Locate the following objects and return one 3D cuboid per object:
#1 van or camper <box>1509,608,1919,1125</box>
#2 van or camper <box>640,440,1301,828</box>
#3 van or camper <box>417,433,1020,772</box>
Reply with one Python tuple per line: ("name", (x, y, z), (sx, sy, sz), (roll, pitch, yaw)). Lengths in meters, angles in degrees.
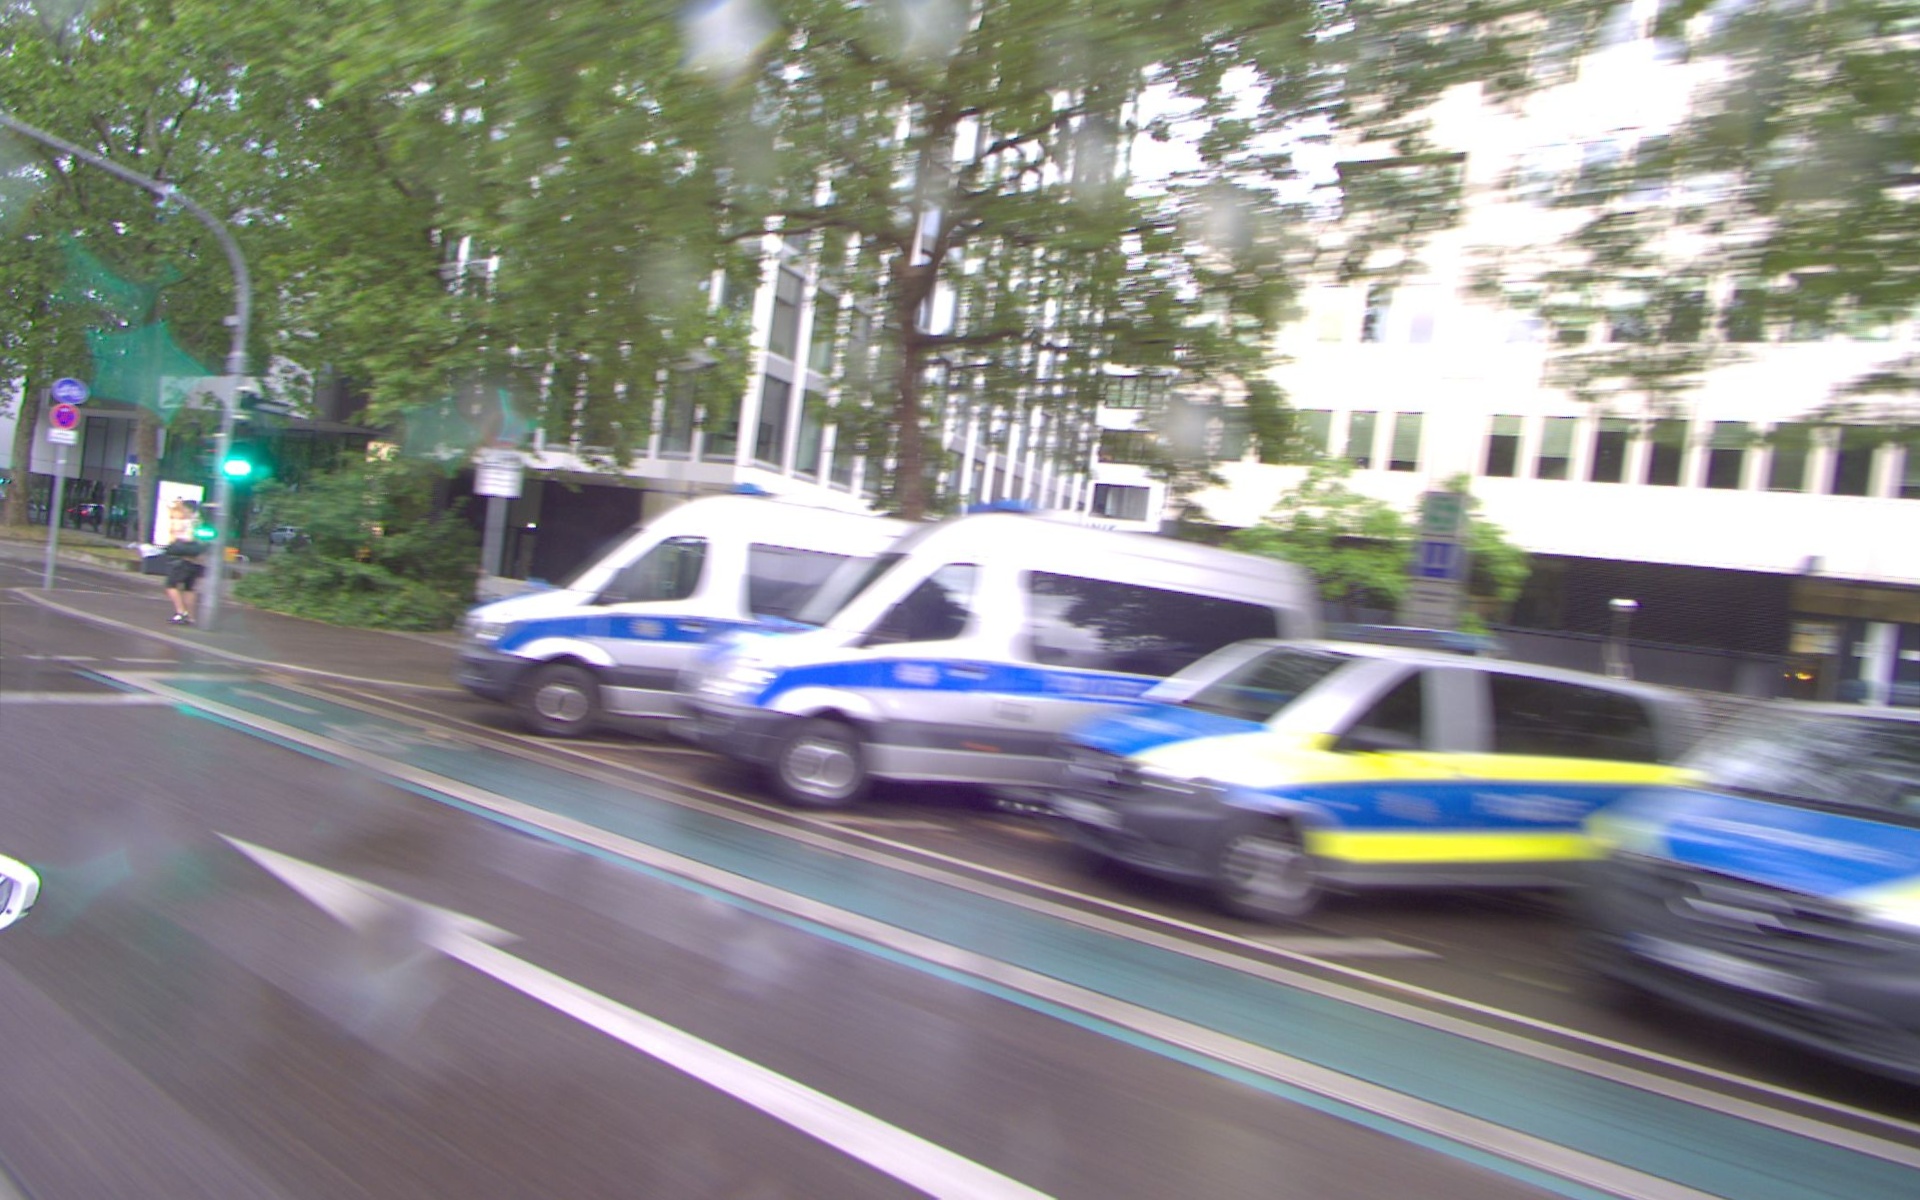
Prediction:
("van or camper", (5.892, 1.421, 5.780), (5.145, 2.014, 1.989), (9, -2, -25))
("van or camper", (0.176, 0.487, 9.563), (5.737, 2.712, 1.989), (8, 0, -24))
("van or camper", (-2.510, 0.184, 11.206), (5.738, 2.709, 2.137), (8, -1, -22))
